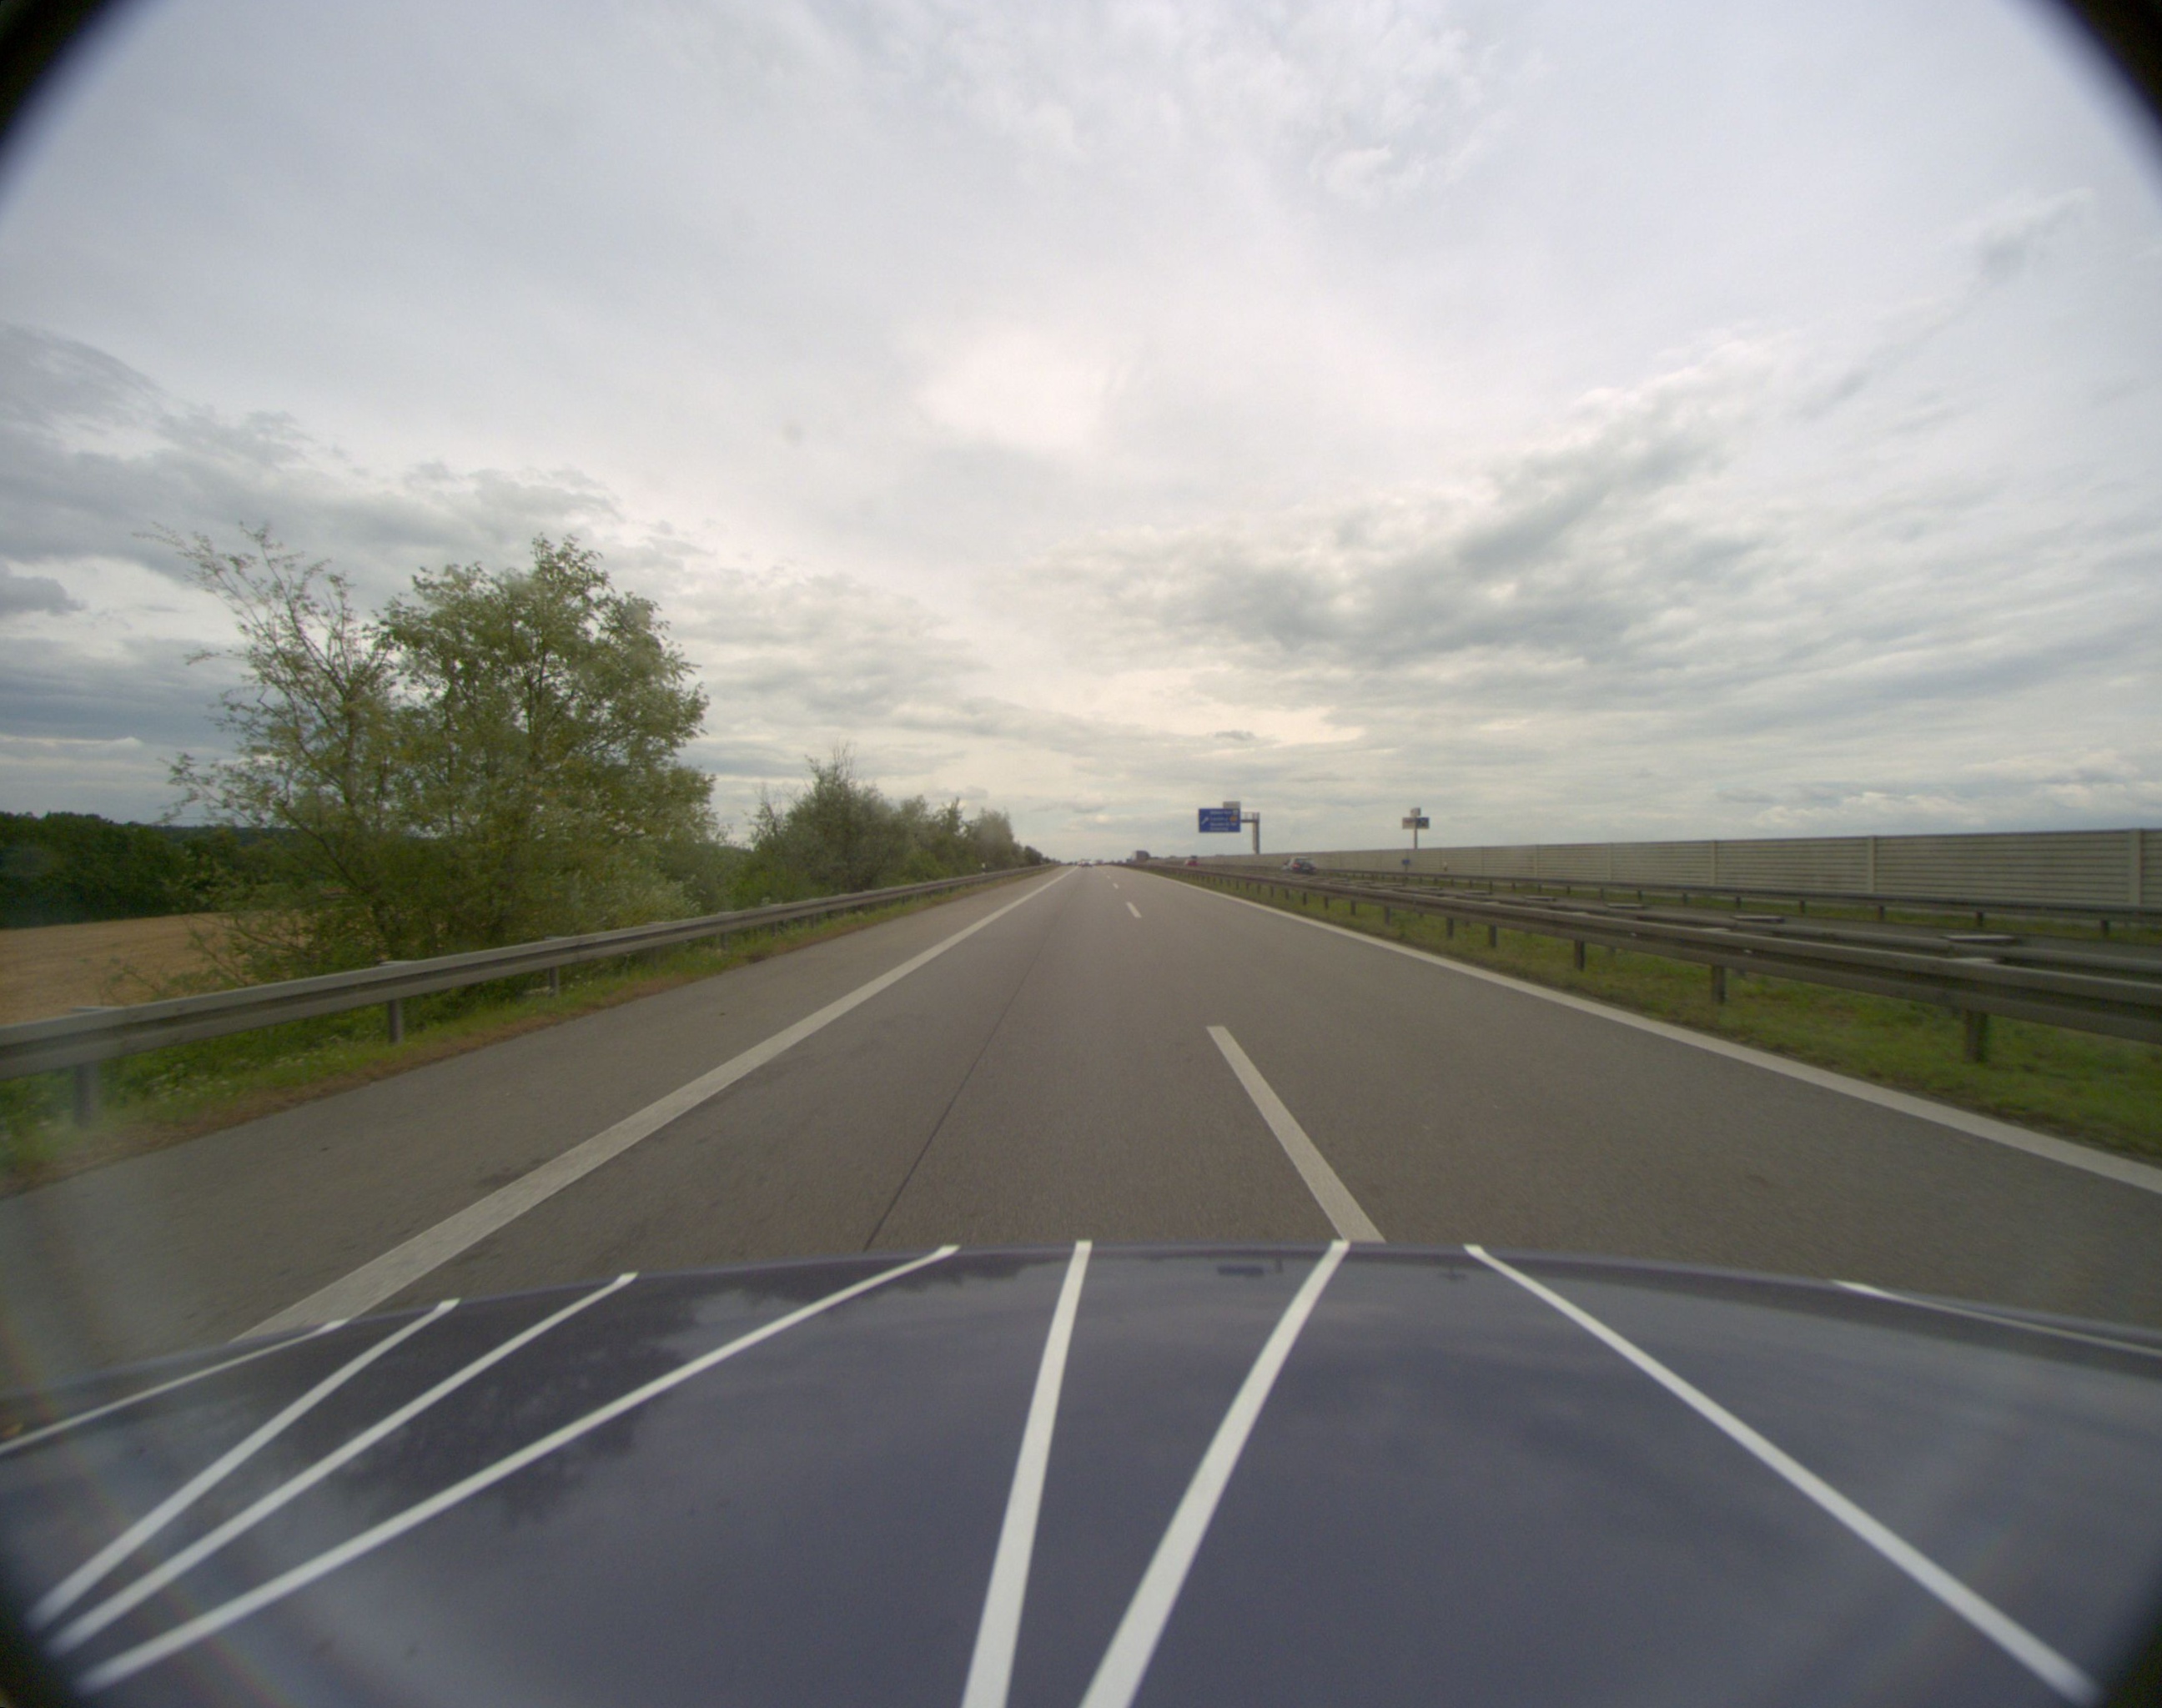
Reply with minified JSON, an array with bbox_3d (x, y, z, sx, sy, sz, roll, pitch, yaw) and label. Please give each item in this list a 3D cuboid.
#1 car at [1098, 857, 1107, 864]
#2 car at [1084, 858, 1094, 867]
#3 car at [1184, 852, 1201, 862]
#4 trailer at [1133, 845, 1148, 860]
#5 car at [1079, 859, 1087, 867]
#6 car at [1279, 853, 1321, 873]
[{"bbox_3d":[5.014,1.571,178.062,1.850,1.664,4.200,0,-1,0],"label":"car"},{"bbox_3d":[1.402,1.536,139.860,1.850,1.664,4.200,0,-1,0],"label":"car"},{"bbox_3d":[15.850,0.443,108.212,1.822,1.395,4.876,0,0,1],"label":"car"},{"bbox_3d":[16.337,-0.343,210.226,3.187,4.052,14.023,1,0,0],"label":"trailer"},{"bbox_3d":[0.459,2.082,180.977,1.851,1.849,4.000,0,-1,-3],"label":"car"},{"bbox_3d":[15.617,0.607,54.331,1.662,1.321,4.609,3,0,1],"label":"car"}]
